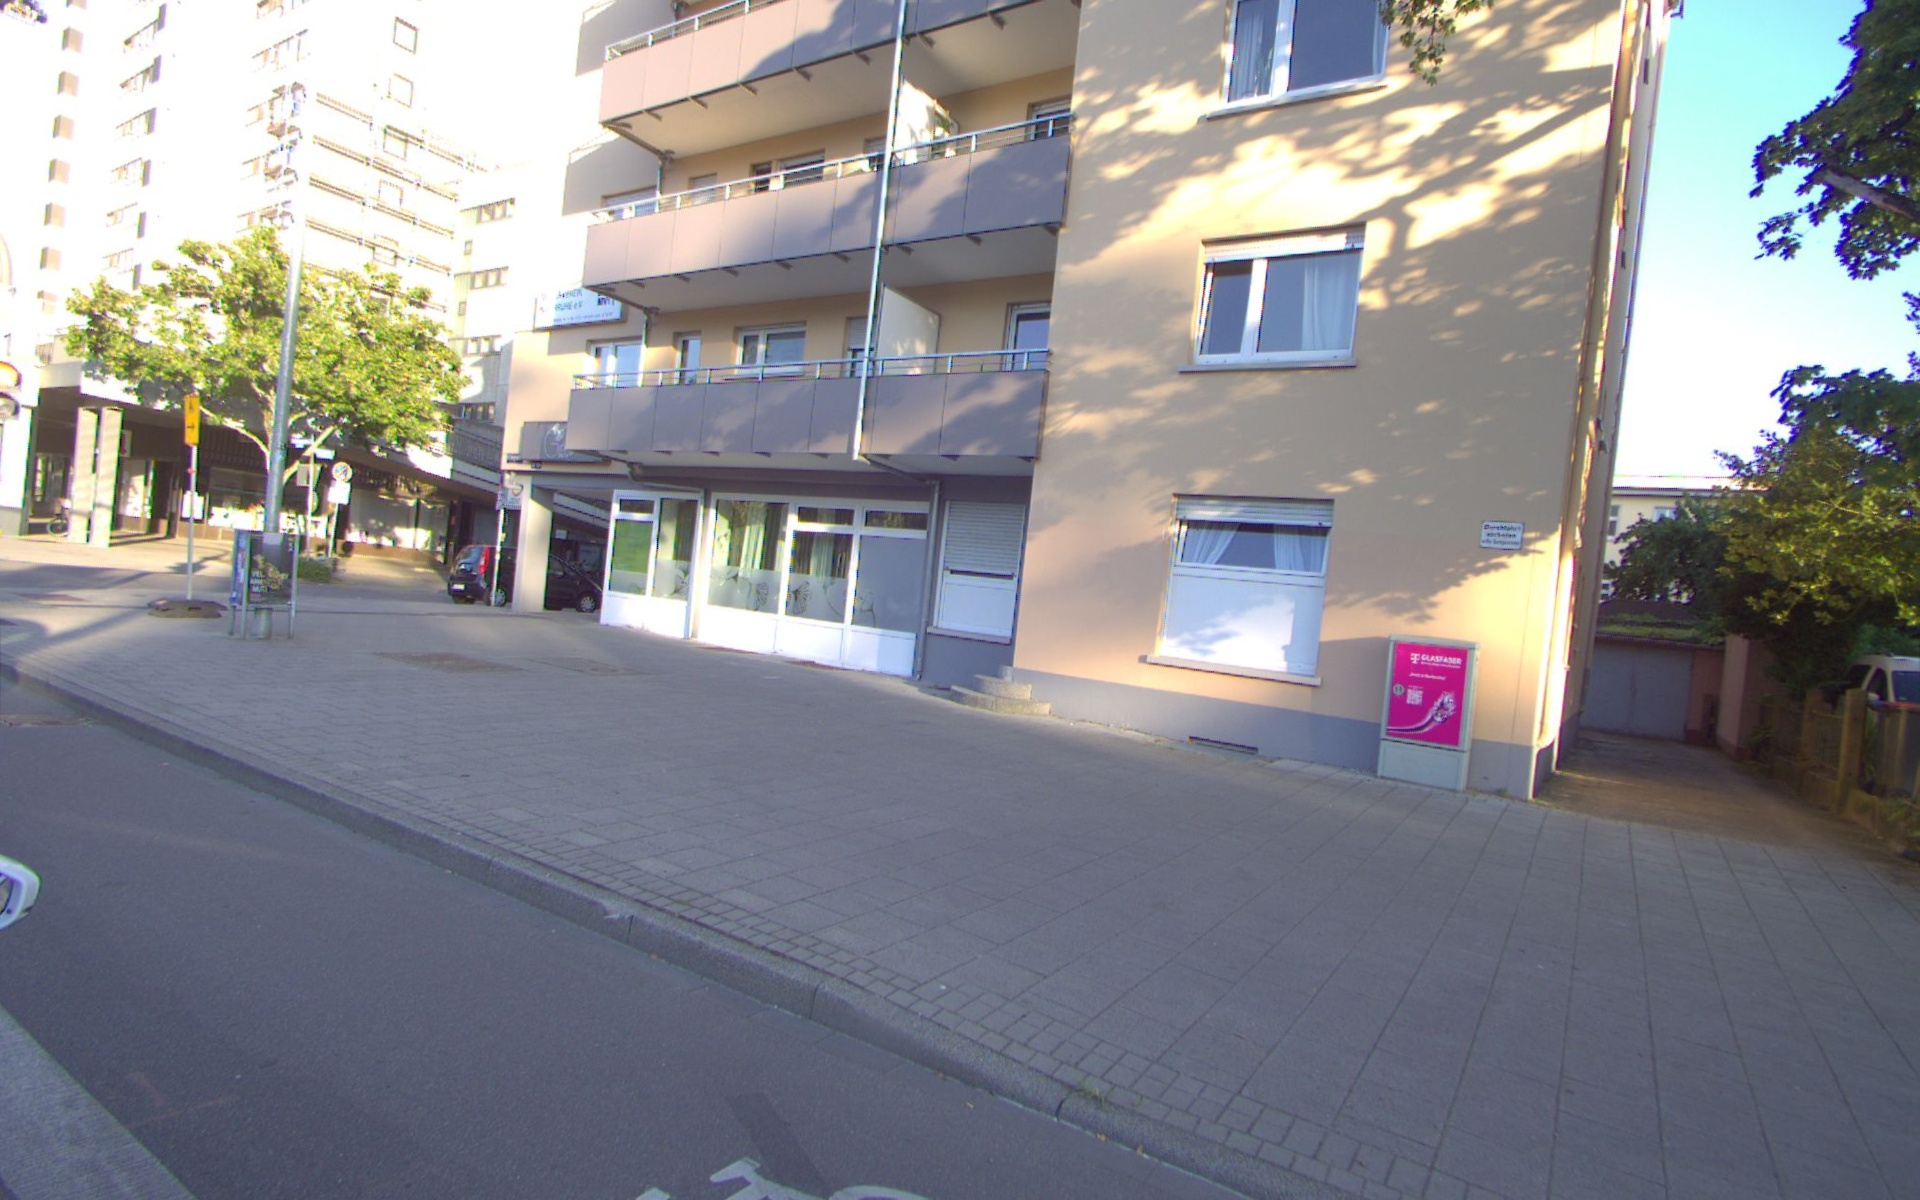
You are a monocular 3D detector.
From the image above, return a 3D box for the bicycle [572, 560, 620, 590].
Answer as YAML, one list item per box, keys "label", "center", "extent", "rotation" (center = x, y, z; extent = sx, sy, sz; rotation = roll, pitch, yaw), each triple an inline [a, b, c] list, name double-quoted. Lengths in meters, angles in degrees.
- label: "bicycle"
  center: [-16.841, -1.152, 46.537]
  extent: [1.939, 1.087, 0.584]
  rotation: [7, -2, 9]

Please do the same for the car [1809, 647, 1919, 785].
- label: "car"
  center: [14.565, 1.735, 14.969]
  extent: [1.794, 1.780, 4.513]
  rotation: [8, 2, 27]

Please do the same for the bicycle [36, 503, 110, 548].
- label: "bicycle"
  center: [-29.004, -2.430, 32.897]
  extent: [1.984, 1.162, 0.692]
  rotation: [7, -2, 14]

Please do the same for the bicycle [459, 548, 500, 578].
- label: "bicycle"
  center: [-20.221, -1.545, 42.324]
  extent: [1.946, 1.086, 0.581]
  rotation: [5, -3, 35]

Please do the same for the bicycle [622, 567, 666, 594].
- label: "bicycle"
  center: [-15.171, -0.942, 48.307]
  extent: [1.941, 1.087, 0.583]
  rotation: [6, -2, 21]

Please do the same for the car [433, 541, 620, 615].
- label: "car"
  center: [-10.898, -0.514, 25.547]
  extent: [1.680, 1.605, 4.037]
  rotation: [3, -1, 36]

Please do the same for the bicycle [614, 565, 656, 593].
- label: "bicycle"
  center: [-15.418, -1.001, 47.740]
  extent: [1.942, 1.087, 0.583]
  rotation: [6, -3, 26]

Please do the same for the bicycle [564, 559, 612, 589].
- label: "bicycle"
  center: [-17.031, -1.181, 46.094]
  extent: [1.939, 1.087, 0.584]
  rotation: [7, -2, 13]

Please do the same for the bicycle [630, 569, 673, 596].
- label: "bicycle"
  center: [-14.994, -0.867, 48.928]
  extent: [1.941, 1.087, 0.583]
  rotation: [6, -2, 21]

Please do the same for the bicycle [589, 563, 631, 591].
- label: "bicycle"
  center: [-16.358, -1.081, 46.949]
  extent: [1.943, 1.087, 0.582]
  rotation: [6, -3, 29]

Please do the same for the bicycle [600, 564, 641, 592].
- label: "bicycle"
  center: [-15.992, -1.046, 47.387]
  extent: [1.943, 1.087, 0.582]
  rotation: [6, -3, 29]
